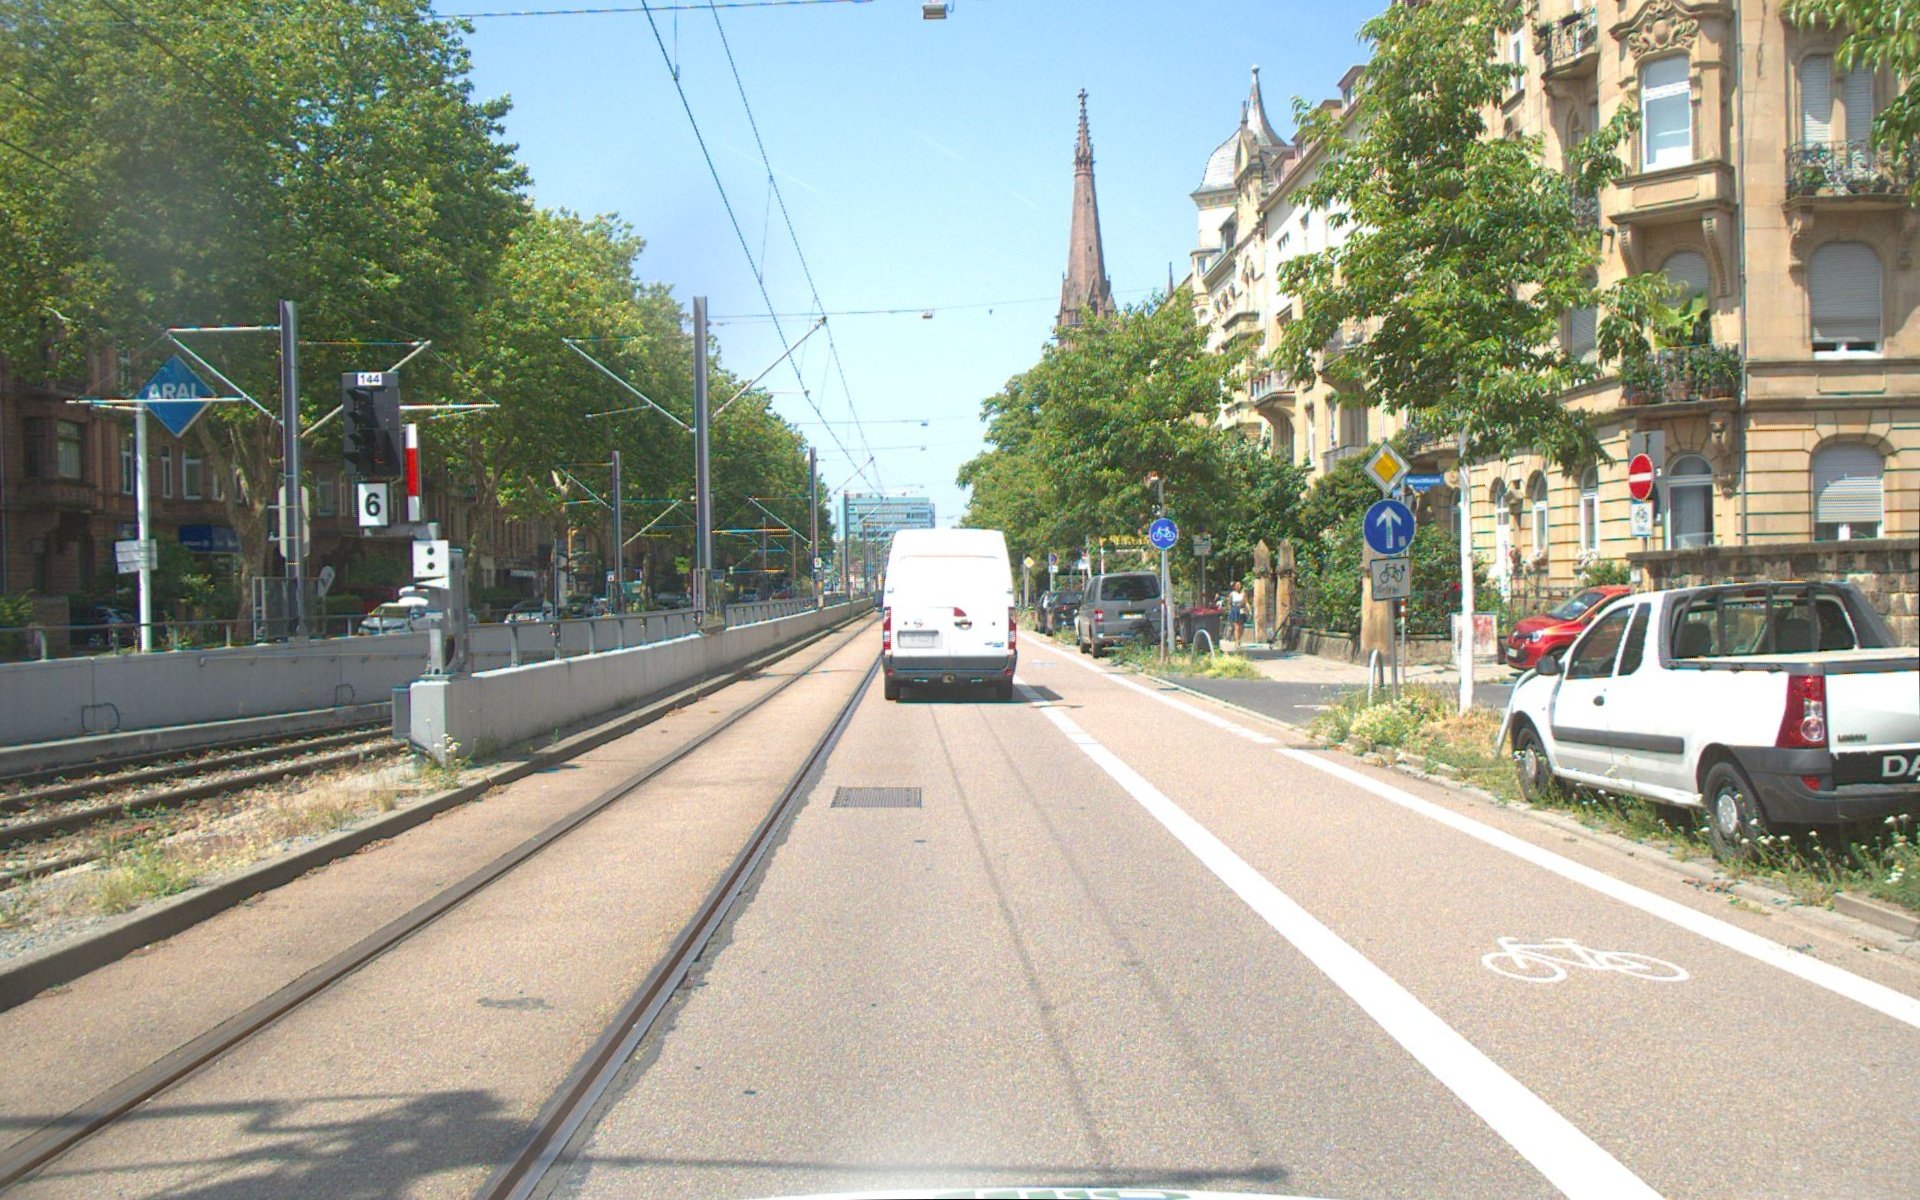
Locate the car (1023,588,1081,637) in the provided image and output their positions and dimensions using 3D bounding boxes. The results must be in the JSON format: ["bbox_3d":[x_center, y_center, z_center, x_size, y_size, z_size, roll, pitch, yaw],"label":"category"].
[{"bbox_3d":[3.083,0.404,56.123,1.633,1.557,4.012,-1,1,-1],"label":"car"}]

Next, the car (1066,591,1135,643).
[{"bbox_3d":[4.096,0.461,48.660,1.578,1.430,3.999,-1,1,-1],"label":"car"}]

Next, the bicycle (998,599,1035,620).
[{"bbox_3d":[2.775,0.473,81.091,1.804,0.970,0.503,-1,0,0],"label":"bicycle"}]

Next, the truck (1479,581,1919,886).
[{"bbox_3d":[5.054,0.660,10.756,1.754,1.553,4.462,-1,0,-3],"label":"truck"}]

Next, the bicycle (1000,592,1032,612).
[{"bbox_3d":[3.411,0.112,100.929,1.850,1.202,0.640,-1,0,-3],"label":"bicycle"}]

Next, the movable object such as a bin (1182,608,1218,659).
[{"bbox_3d":[5.220,0.721,35.982,0.730,1.080,0.496,0,0,5],"label":"movable object such as a bin"}]

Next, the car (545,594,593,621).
[{"bbox_3d":[-21.720,0.379,92.046,1.815,1.425,4.196,-1,0,-2],"label":"car"}]

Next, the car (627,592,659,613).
[{"bbox_3d":[-22.232,0.156,116.171,1.560,1.473,3.999,-1,0,-1],"label":"car"}]

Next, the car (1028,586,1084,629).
[{"bbox_3d":[3.569,0.261,62.232,1.694,1.562,4.403,-1,0,-2],"label":"car"}]

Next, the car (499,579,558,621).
[{"bbox_3d":[-18.010,-0.006,69.223,1.620,1.714,3.705,-1,0,-2],"label":"car"}]

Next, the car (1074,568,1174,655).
[{"bbox_3d":[4.047,0.253,41.519,1.841,1.981,4.835,-2,1,-1],"label":"car"}]

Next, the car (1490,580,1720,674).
[{"bbox_3d":[11.168,0.454,28.775,3.381,1.517,1.555,-1,0,0],"label":"car"}]

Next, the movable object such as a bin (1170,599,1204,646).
[{"bbox_3d":[5.051,0.494,36.854,0.585,1.028,0.564,-1,0,-11],"label":"movable object such as a bin"}]

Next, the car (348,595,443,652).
[{"bbox_3d":[-20.370,0.826,59.873,1.953,1.937,4.716,-1,0,-2],"label":"car"}]

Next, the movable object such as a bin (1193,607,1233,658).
[{"bbox_3d":[5.320,0.682,34.742,0.771,1.031,0.650,-1,0,5],"label":"movable object such as a bin"}]

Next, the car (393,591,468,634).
[{"bbox_3d":[-20.711,0.459,64.789,1.753,1.583,4.085,-1,0,-2],"label":"car"}]

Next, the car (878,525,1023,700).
[{"bbox_3d":[-0.244,0.154,26.400,2.075,2.502,5.052,-1,0,-3],"label":"car"}]

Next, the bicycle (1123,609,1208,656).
[{"bbox_3d":[4.665,0.733,37.559,1.847,1.009,0.469,-1,0,-12],"label":"bicycle"}]

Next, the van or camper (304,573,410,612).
[{"bbox_3d":[-29.728,-0.371,81.609,4.448,1.869,1.933,-1,0,4],"label":"van or camper"}]

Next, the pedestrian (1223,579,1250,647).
[{"bbox_3d":[6.698,0.317,40.111,0.540,1.626,0.728,0,0,1],"label":"pedestrian"}]

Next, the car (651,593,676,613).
[{"bbox_3d":[-22.206,0.211,123.967,1.345,1.448,3.087,-1,0,-1],"label":"car"}]
